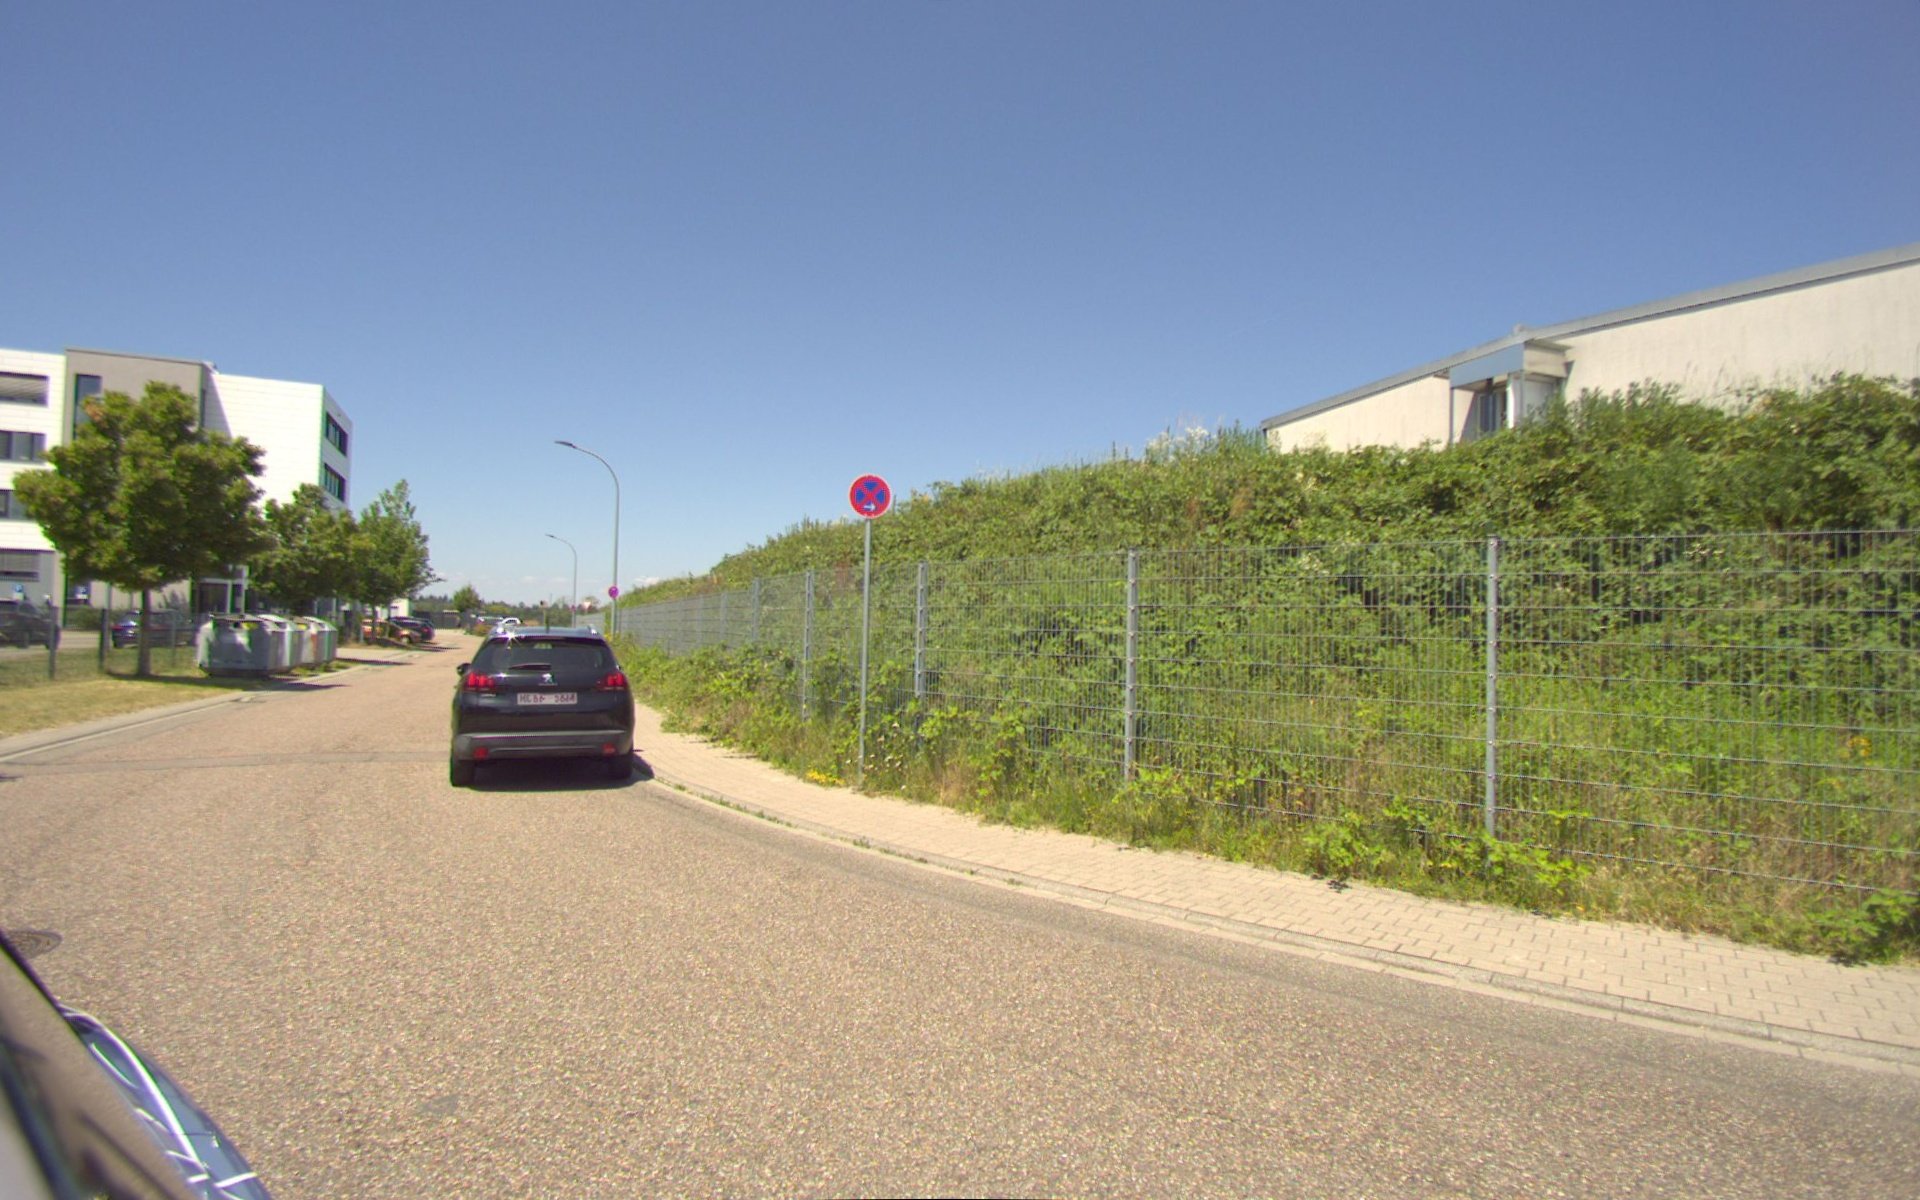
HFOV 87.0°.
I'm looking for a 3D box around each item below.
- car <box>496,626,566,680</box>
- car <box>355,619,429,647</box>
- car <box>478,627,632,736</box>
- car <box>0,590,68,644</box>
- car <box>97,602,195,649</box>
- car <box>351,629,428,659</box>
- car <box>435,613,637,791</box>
[{"bbox_3d":[-13.341,1.632,31.624,1.823,1.531,3.960,3,-3,-21],"label":"car"},{"bbox_3d":[-35.740,2.071,63.802,3.930,1.652,1.897,0,-1,-24],"label":"car"},{"bbox_3d":[-6.471,1.200,15.955,1.907,1.466,4.296,3,-3,-25],"label":"car"},{"bbox_3d":[-29.925,0.530,31.683,1.800,1.586,3.938,3,-3,-23],"label":"car"},{"bbox_3d":[-29.743,0.962,37.097,1.801,1.466,3.937,0,-4,-24],"label":"car"},{"bbox_3d":[-34.703,2.643,61.677,3.930,1.716,1.897,0,-1,-24],"label":"car"},{"bbox_3d":[-4.687,0.993,11.139,1.630,1.567,4.146,3,-3,-24],"label":"car"}]
